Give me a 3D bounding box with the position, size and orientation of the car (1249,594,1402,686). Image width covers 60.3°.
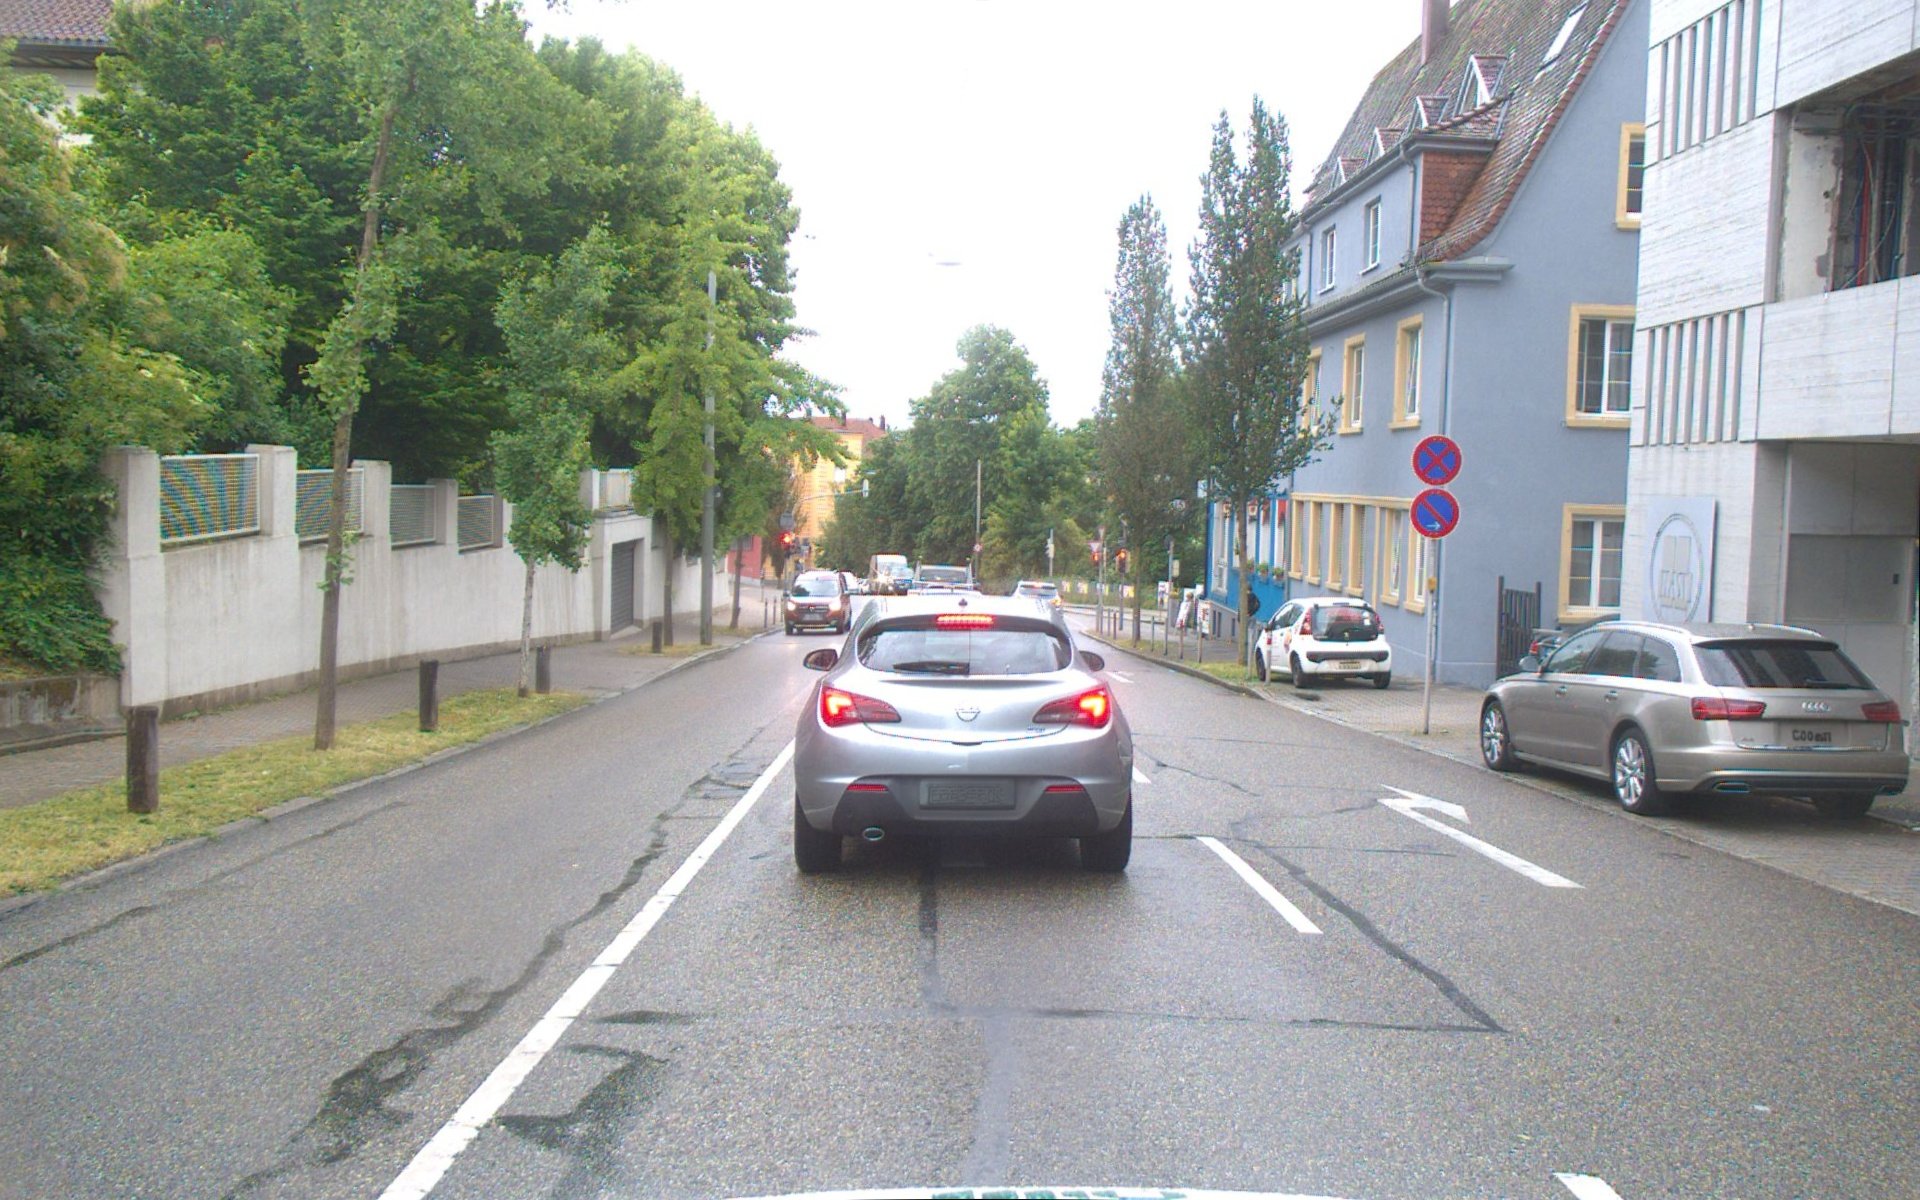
[{"bbox_3d":[6.280,0.645,28.793,1.688,1.473,3.878,0,0,-2],"label":"car"}]

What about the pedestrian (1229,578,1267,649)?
[{"bbox_3d":[7.274,0.332,41.800,0.767,1.759,0.650,2,0,-1],"label":"pedestrian"}]

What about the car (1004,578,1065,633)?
[{"bbox_3d":[2.437,0.160,55.167,1.688,1.744,3.878,0,0,-3],"label":"car"}]

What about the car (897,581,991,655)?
[{"bbox_3d":[-0.406,0.358,37.093,1.922,1.473,4.304,2,1,-2],"label":"car"}]

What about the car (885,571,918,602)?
[{"bbox_3d":[-3.276,-0.753,92.568,1.833,1.666,3.878,0,0,-2],"label":"car"}]

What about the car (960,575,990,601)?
[{"bbox_3d":[0.975,-0.785,108.927,1.689,1.666,3.876,0,0,-4],"label":"car"}]

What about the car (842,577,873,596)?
[{"bbox_3d":[-8.645,-1.178,139.221,1.696,1.570,3.859,0,0,-18],"label":"car"}]

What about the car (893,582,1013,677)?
[{"bbox_3d":[-0.188,0.469,29.436,1.922,1.473,4.304,2,1,-2],"label":"car"}]

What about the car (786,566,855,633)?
[{"bbox_3d":[-4.097,-0.018,49.035,1.711,1.860,4.458,-1,0,-1],"label":"car"}]

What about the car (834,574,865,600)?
[{"bbox_3d":[-6.468,-0.743,97.404,1.688,1.485,3.878,0,0,-2],"label":"car"}]

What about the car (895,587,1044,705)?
[{"bbox_3d":[0.056,0.595,24.059,1.922,1.473,4.304,2,1,-2],"label":"car"}]

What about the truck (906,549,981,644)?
[{"bbox_3d":[-0.527,-0.124,47.091,1.922,2.471,4.934,2,1,-2],"label":"truck"}]

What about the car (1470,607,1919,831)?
[{"bbox_3d":[6.048,0.852,13.909,1.923,1.473,4.524,1,1,-3],"label":"car"}]

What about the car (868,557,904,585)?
[{"bbox_3d":[-4.509,-1.757,100.186,1.691,1.666,3.871,0,0,-9],"label":"car"}]

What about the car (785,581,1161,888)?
[{"bbox_3d":[-0.018,0.641,9.954,1.800,1.459,3.878,1,0,-3],"label":"car"}]

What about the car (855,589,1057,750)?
[{"bbox_3d":[-0.108,0.667,18.335,1.922,1.473,4.304,2,1,-2],"label":"car"}]
